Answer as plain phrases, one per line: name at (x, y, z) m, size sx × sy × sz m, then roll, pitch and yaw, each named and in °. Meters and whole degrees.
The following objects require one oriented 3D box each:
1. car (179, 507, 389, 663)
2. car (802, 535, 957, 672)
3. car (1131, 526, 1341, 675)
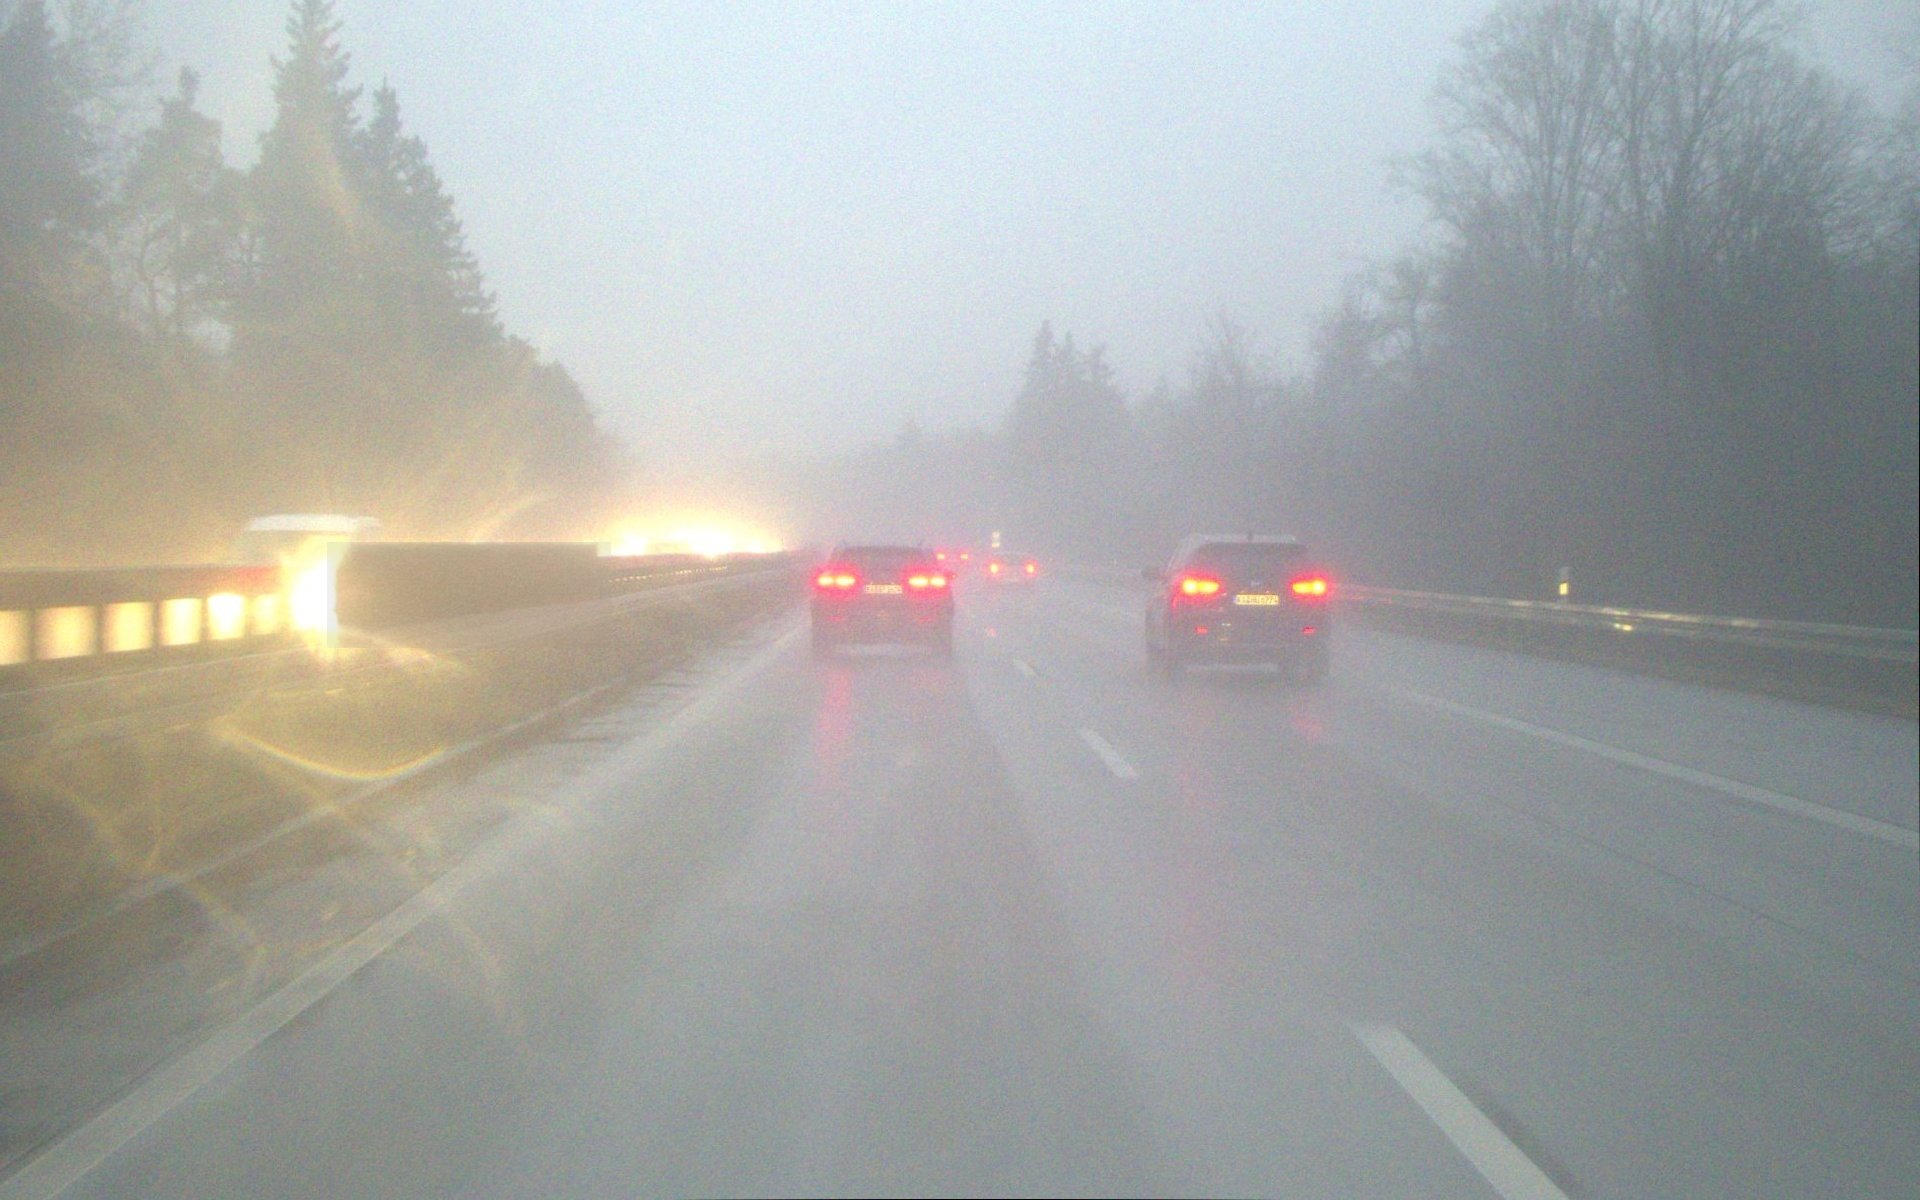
car at (-9.202, -0.225, 47.145) m, size 1.993 × 2.007 × 4.729 m, roll 1°, pitch 1°, yaw -1°
car at (-1.053, 0.017, 46.880) m, size 1.986 × 1.761 × 4.173 m, roll 0°, pitch 1°, yaw 0°
car at (3.270, -0.022, 41.613) m, size 2.070 × 1.692 × 4.461 m, roll 1°, pitch 1°, yaw -1°
